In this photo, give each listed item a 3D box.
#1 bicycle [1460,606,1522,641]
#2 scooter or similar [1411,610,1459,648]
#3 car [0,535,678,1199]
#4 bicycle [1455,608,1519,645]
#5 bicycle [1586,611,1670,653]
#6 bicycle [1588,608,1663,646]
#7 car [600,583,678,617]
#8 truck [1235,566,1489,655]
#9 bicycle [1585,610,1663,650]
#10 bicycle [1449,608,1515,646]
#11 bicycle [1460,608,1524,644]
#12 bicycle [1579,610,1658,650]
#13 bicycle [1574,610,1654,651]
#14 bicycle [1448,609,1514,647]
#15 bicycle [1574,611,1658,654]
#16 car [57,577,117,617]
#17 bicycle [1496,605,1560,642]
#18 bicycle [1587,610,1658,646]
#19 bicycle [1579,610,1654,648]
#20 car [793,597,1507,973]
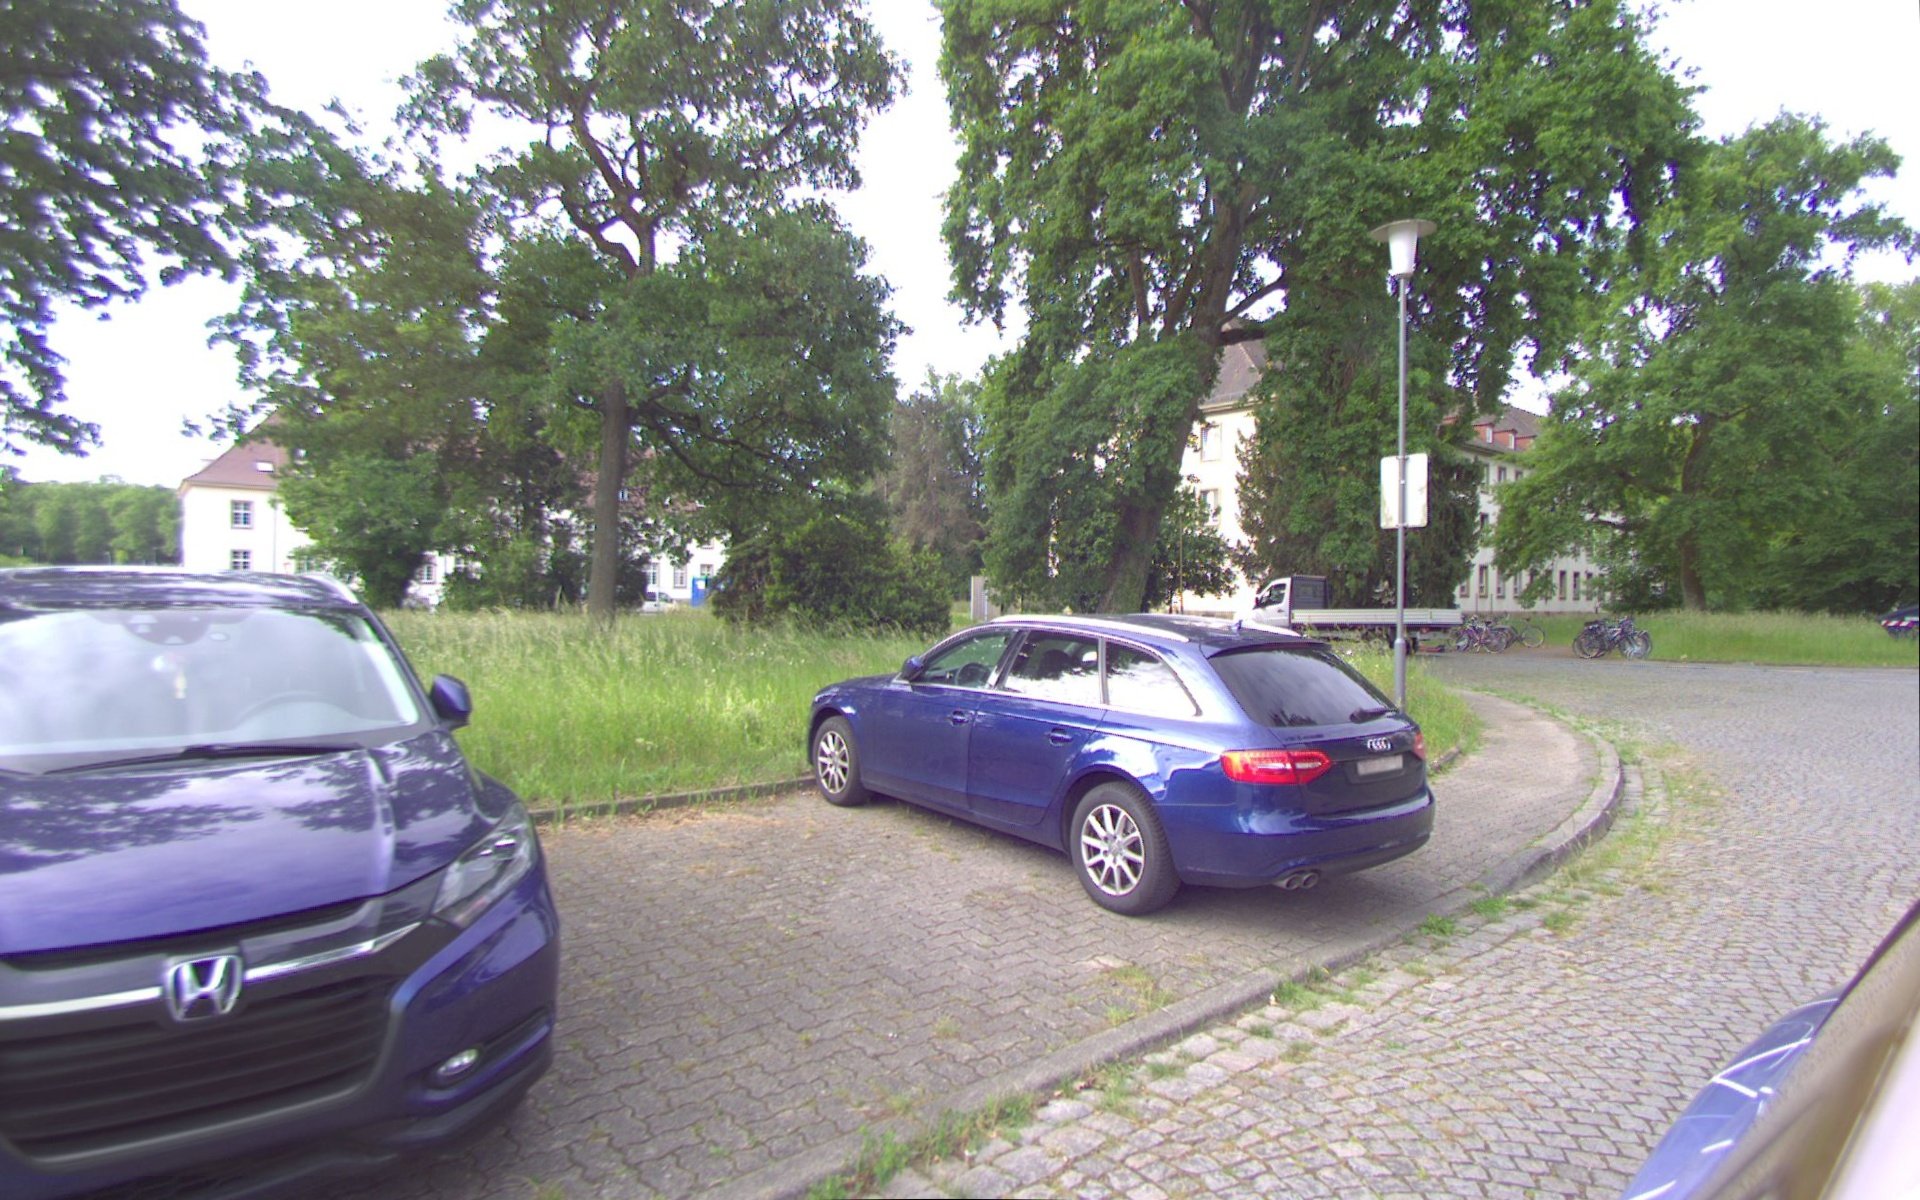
[{"bbox_3d":[18.344,0.818,34.982,1.837,1.185,0.484,0,-1,22],"label":"bicycle"},{"bbox_3d":[15.166,0.926,32.321,0.406,1.185,1.306,0,-1,-40],"label":"scooter or similar"},{"bbox_3d":[-2.811,0.659,3.572,1.854,1.643,4.252,1,1,-41],"label":"car"},{"bbox_3d":[17.190,0.852,33.041,1.843,1.185,0.483,0,-1,30],"label":"bicycle"},{"bbox_3d":[19.194,0.913,29.100,1.917,1.185,0.484,-1,-1,23],"label":"bicycle"},{"bbox_3d":[21.286,0.860,32.408,1.922,1.185,0.483,-1,-1,29],"label":"bicycle"},{"bbox_3d":[-22.276,-0.005,70.347,4.852,2.333,1.921,0,0,-40],"label":"car"},{"bbox_3d":[11.891,0.265,30.585,1.957,2.396,7.080,2,0,-39],"label":"truck"},{"bbox_3d":[20.427,0.919,31.180,1.922,1.185,0.483,-1,-1,29],"label":"bicycle"},{"bbox_3d":[16.737,0.852,32.491,1.840,1.185,0.484,0,-1,25],"label":"bicycle"},{"bbox_3d":[17.673,0.852,33.641,1.837,1.185,0.484,0,-1,22],"label":"bicycle"},{"bbox_3d":[19.905,0.919,30.609,1.919,1.185,0.484,-1,-1,26],"label":"bicycle"},{"bbox_3d":[19.484,0.920,30.171,1.919,1.185,0.484,-1,-1,26],"label":"bicycle"},{"bbox_3d":[16.440,0.876,31.973,1.840,1.185,0.484,0,-1,25],"label":"bicycle"},{"bbox_3d":[18.616,0.917,28.756,1.917,1.185,0.484,-1,-1,23],"label":"bicycle"},{"bbox_3d":[-61.913,-0.185,71.745,5.651,2.675,2.246,-1,-1,39],"label":"car"},{"bbox_3d":[19.683,0.803,35.096,1.852,1.185,0.481,2,1,41],"label":"bicycle"},{"bbox_3d":[21.935,0.924,33.535,1.926,1.185,0.531,-2,-1,35],"label":"bicycle"},{"bbox_3d":[20.784,0.923,32.070,1.922,1.185,0.483,-1,-1,29],"label":"bicycle"},{"bbox_3d":[0.809,0.765,6.499,1.891,1.457,4.369,1,1,-37],"label":"car"}]
